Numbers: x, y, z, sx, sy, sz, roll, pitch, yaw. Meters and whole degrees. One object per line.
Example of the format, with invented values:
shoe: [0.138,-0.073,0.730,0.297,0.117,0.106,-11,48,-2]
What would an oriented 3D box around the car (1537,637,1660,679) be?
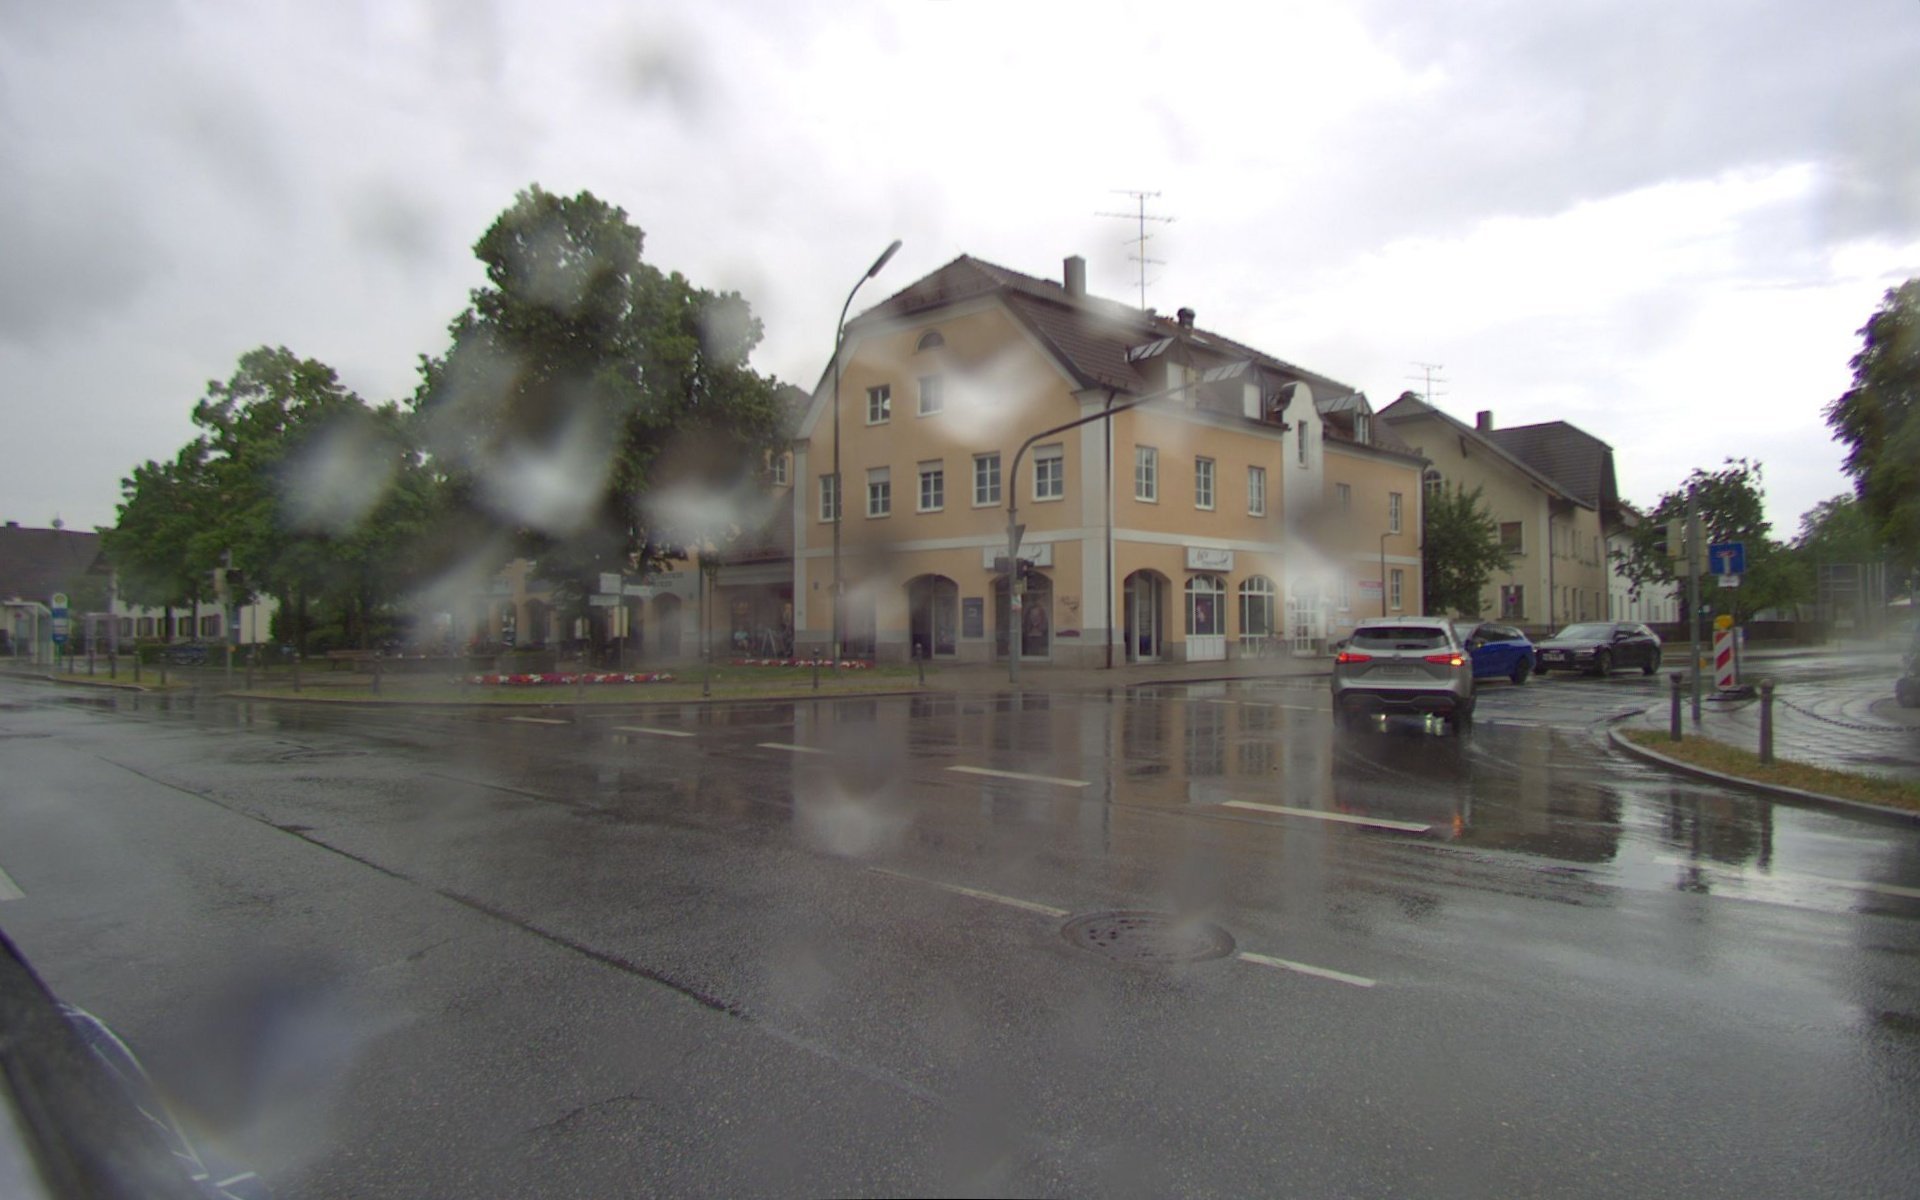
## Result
car: [17.623,1.562,27.890,4.006,1.025,1.427,1,-2,-35]

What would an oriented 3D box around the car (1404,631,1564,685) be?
car: [12.874,1.369,24.795,4.288,1.194,1.693,1,-2,-35]

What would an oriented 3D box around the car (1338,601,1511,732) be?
car: [6.951,0.937,15.436,2.075,1.686,4.353,0,-2,23]
